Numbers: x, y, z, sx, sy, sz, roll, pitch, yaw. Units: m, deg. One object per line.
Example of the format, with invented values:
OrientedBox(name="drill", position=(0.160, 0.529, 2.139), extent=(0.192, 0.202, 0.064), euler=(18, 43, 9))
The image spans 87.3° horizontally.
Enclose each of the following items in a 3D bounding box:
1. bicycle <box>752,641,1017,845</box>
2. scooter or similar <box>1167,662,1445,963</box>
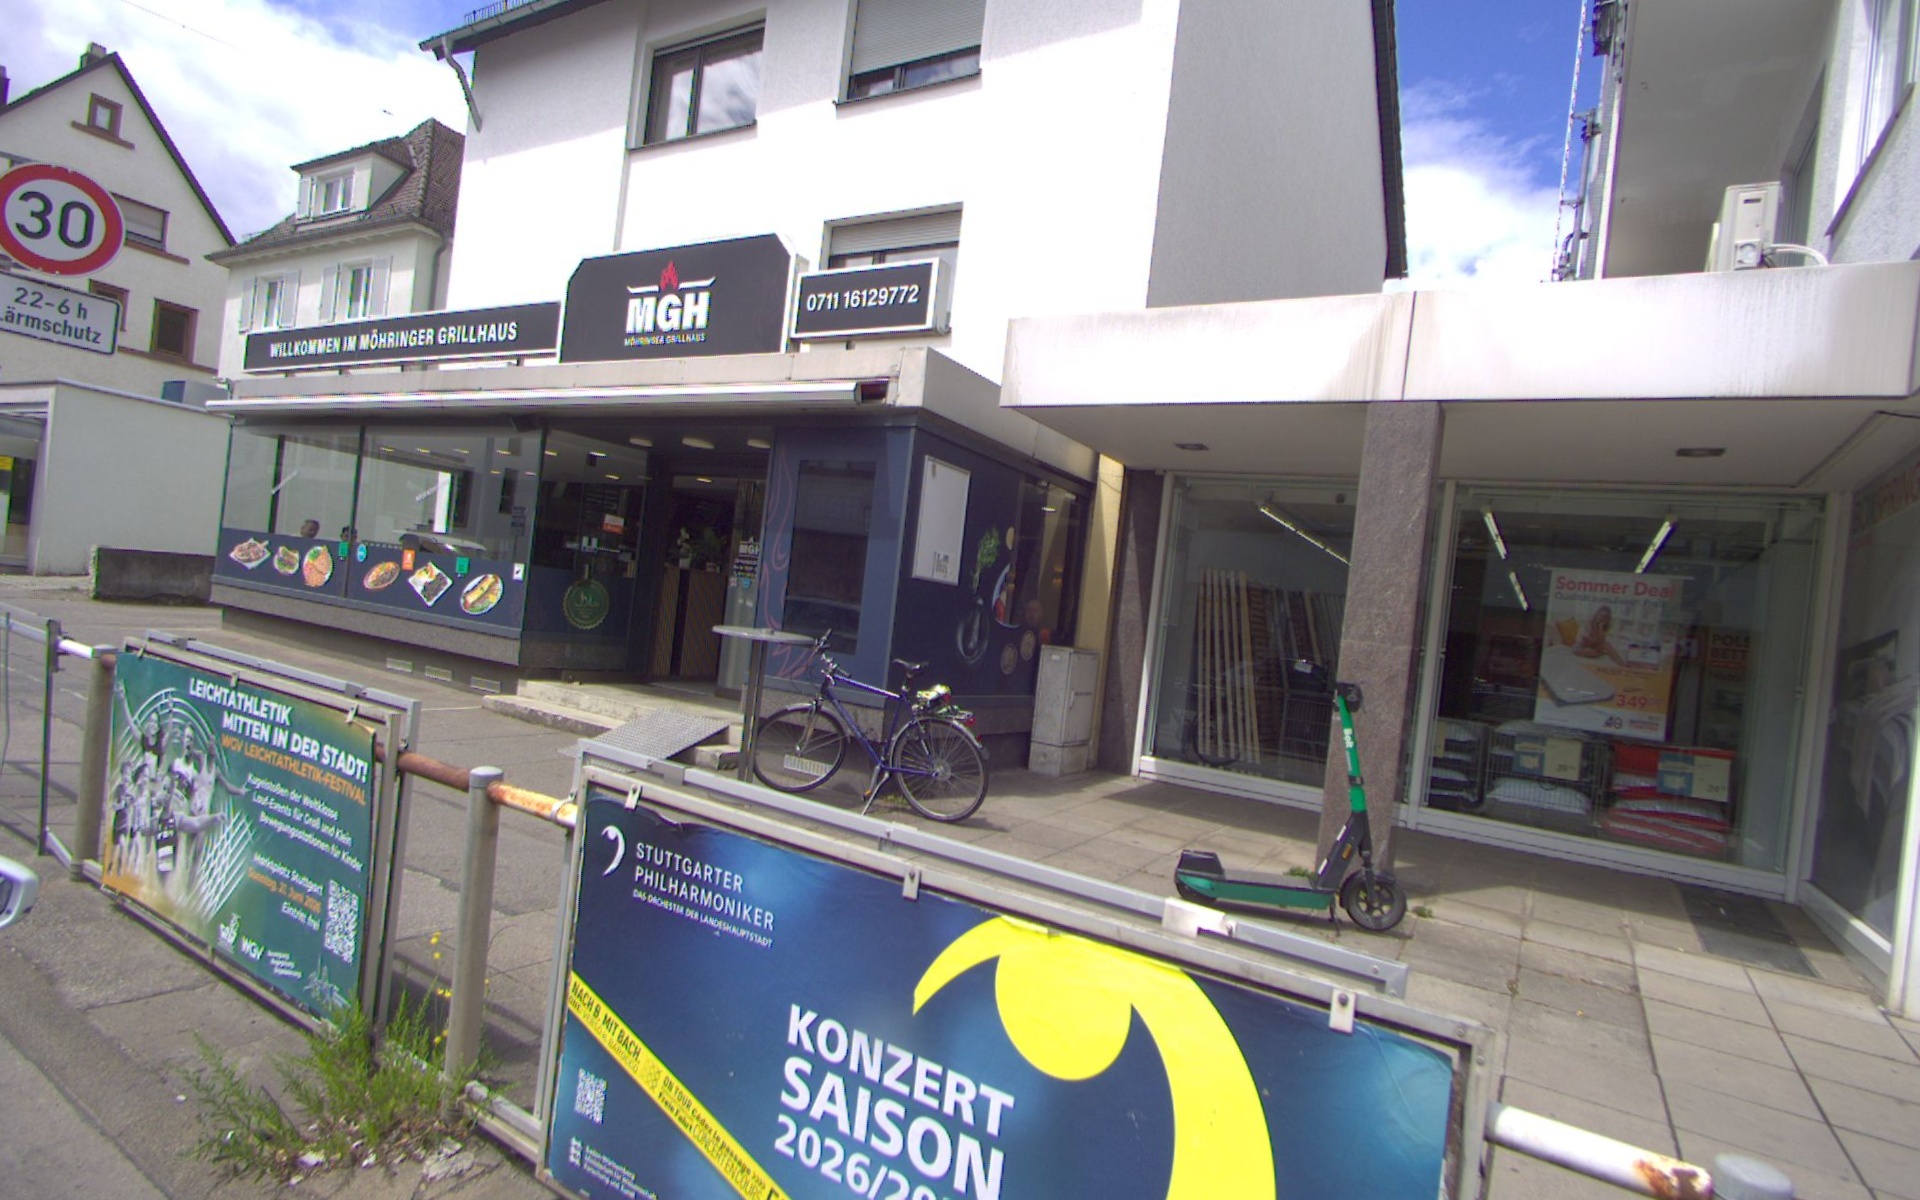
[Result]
OrientedBox(name="bicycle", position=(-0.512, 0.893, 6.634), extent=(1.606, 1.041, 0.476), euler=(7, 1, 23))
OrientedBox(name="scooter or similar", position=(1.786, 1.037, 5.272), extent=(1.163, 1.283, 0.689), euler=(6, 1, 20))
